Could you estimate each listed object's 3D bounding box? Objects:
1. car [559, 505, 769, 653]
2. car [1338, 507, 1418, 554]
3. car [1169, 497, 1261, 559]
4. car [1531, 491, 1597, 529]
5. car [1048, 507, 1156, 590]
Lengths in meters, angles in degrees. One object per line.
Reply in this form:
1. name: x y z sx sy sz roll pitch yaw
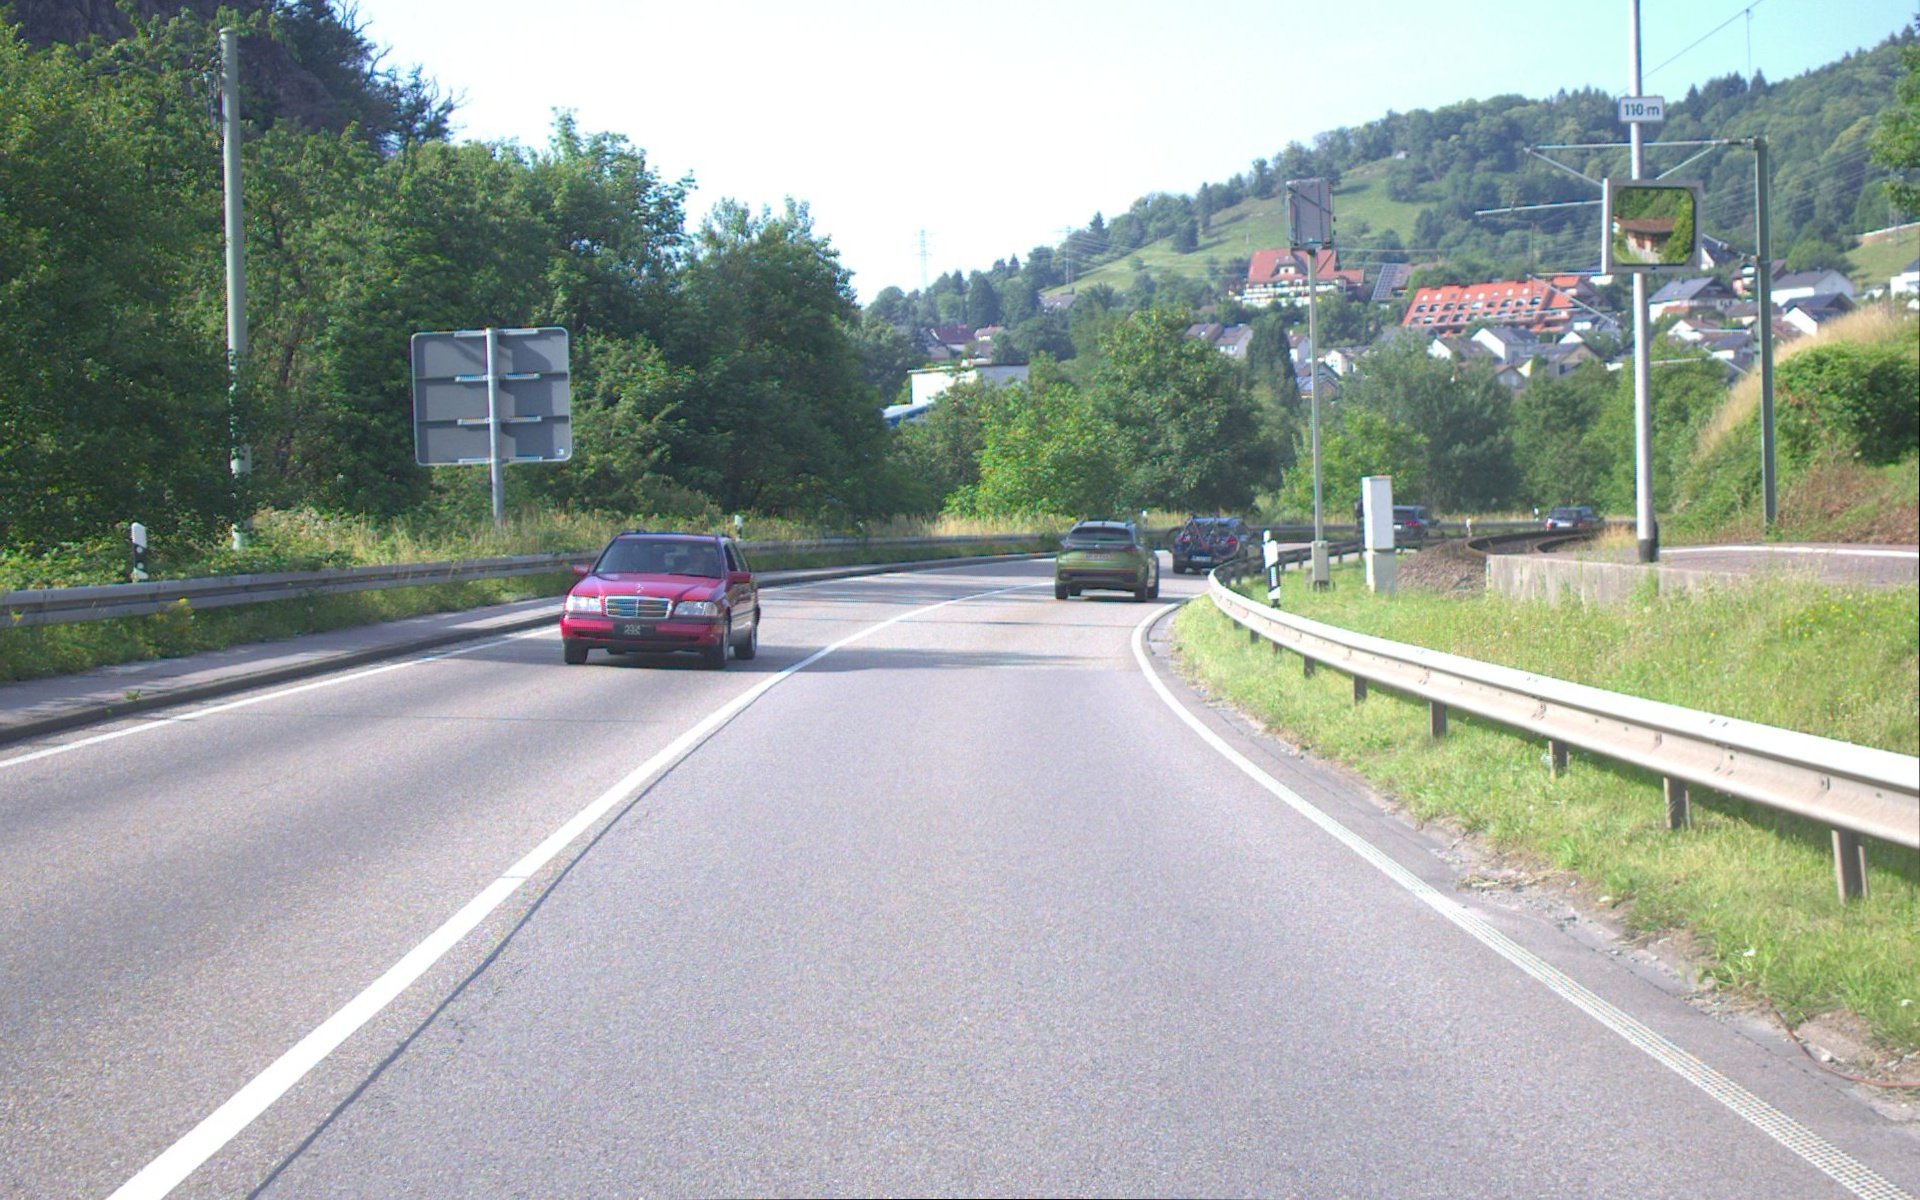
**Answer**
1. car: -3.189 -0.284 37.886 1.841 1.464 4.944 2 2 0
2. car: 14.015 -2.332 115.155 1.808 1.448 3.644 -2 2 20
3. car: 6.445 -1.825 86.609 1.841 1.454 3.711 -2 2 11
4. car: 24.282 -3.611 138.025 1.810 1.403 3.769 -2 2 22
5. car: 2.721 -0.999 65.305 1.729 1.452 3.410 -2 2 7
